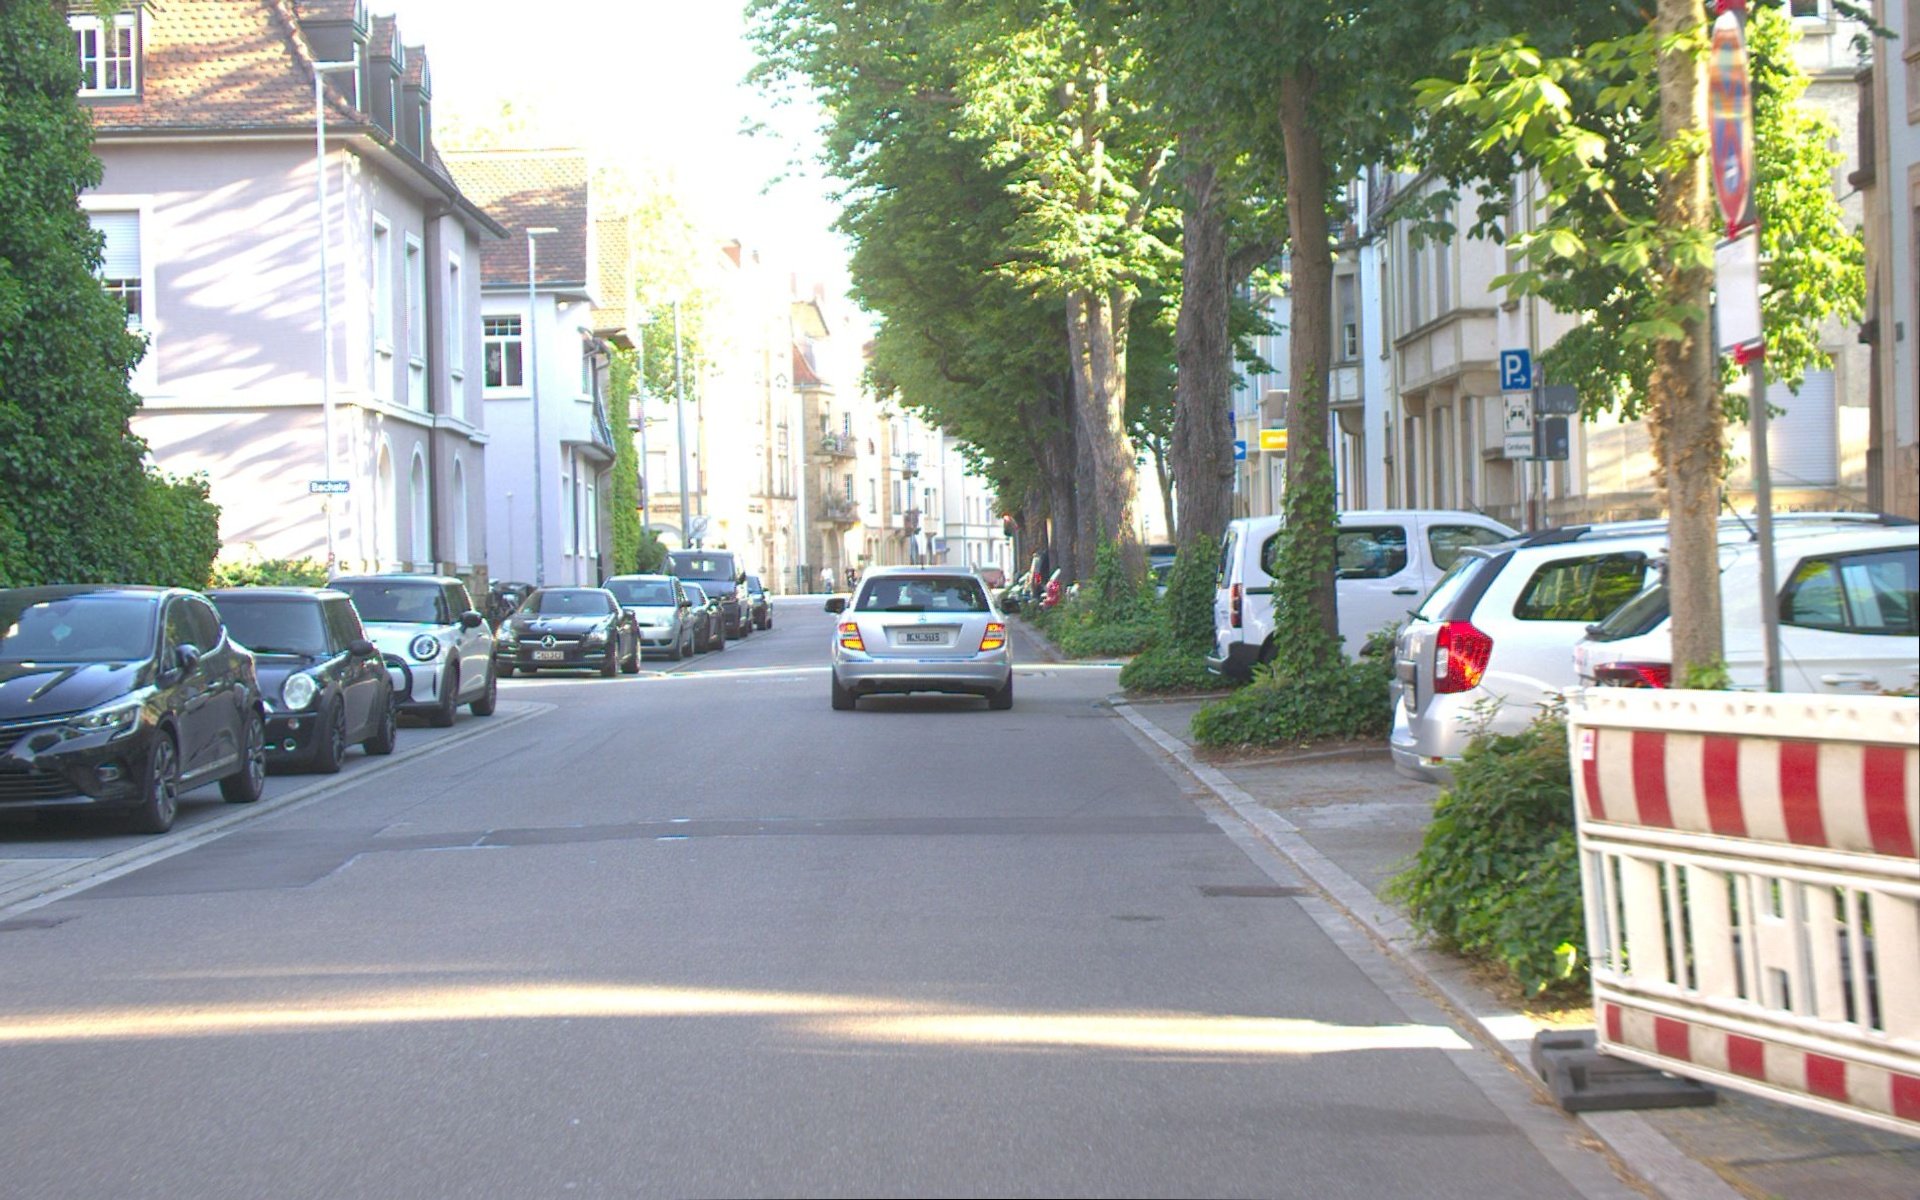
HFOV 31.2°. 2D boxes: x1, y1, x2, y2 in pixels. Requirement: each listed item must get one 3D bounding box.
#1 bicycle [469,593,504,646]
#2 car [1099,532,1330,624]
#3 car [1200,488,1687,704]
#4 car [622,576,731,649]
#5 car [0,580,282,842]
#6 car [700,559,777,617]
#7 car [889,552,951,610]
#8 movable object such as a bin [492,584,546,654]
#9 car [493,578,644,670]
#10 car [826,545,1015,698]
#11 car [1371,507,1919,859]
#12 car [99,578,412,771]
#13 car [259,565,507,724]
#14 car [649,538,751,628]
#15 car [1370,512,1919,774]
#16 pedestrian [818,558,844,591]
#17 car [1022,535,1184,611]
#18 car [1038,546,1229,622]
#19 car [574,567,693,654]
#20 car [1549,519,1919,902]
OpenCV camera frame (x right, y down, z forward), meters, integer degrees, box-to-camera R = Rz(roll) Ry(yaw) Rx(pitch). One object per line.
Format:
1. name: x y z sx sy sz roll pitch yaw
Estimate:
1. bicycle: -8.685 0.350 63.066 0.394 0.934 1.722 -2 1 0
2. car: 4.459 -0.393 60.623 3.792 1.433 1.749 -2 1 -4
3. car: 4.583 -0.052 33.087 4.314 1.801 2.000 -3 1 0
4. car: -5.311 0.214 64.703 1.531 1.314 4.226 0 0 2
5. car: -5.378 0.603 21.051 1.649 1.416 4.099 0 1 0
6. car: -5.615 -0.327 87.527 1.695 1.442 4.358 0 1 0
7. car: -1.097 -0.543 95.430 1.623 1.564 3.680 -1 1 1
8. movable object such as a bin: -8.352 0.350 65.196 0.721 1.279 2.096 -1 1 0
9. car: -5.786 0.329 51.159 1.653 1.319 4.045 0 0 2
10. car: -0.361 0.201 34.433 1.784 1.432 3.851 0 0 0
11. car: 4.206 0.336 16.916 4.144 1.529 1.687 -3 1 2
12. car: -5.422 0.533 26.869 1.686 1.375 3.721 0 1 0
13. car: -5.585 0.390 33.704 1.704 1.455 3.917 0 1 1
14. car: -5.741 -0.403 76.505 1.982 1.941 4.852 0 1 -1
15. car: 4.655 0.242 22.130 3.747 1.458 1.734 -3 1 0
16. pedestrian: -6.670 -1.306 177.460 1.221 1.716 1.503 0 0 3
17. car: 3.893 -0.744 94.231 4.219 1.890 1.906 -3 0 -2
18. car: 3.913 -0.356 77.636 4.190 1.470 1.851 -3 0 2
19. car: -5.655 0.158 59.902 1.653 1.440 3.960 0 1 0
20. car: 4.523 0.371 14.406 3.852 1.457 1.686 -3 1 5
